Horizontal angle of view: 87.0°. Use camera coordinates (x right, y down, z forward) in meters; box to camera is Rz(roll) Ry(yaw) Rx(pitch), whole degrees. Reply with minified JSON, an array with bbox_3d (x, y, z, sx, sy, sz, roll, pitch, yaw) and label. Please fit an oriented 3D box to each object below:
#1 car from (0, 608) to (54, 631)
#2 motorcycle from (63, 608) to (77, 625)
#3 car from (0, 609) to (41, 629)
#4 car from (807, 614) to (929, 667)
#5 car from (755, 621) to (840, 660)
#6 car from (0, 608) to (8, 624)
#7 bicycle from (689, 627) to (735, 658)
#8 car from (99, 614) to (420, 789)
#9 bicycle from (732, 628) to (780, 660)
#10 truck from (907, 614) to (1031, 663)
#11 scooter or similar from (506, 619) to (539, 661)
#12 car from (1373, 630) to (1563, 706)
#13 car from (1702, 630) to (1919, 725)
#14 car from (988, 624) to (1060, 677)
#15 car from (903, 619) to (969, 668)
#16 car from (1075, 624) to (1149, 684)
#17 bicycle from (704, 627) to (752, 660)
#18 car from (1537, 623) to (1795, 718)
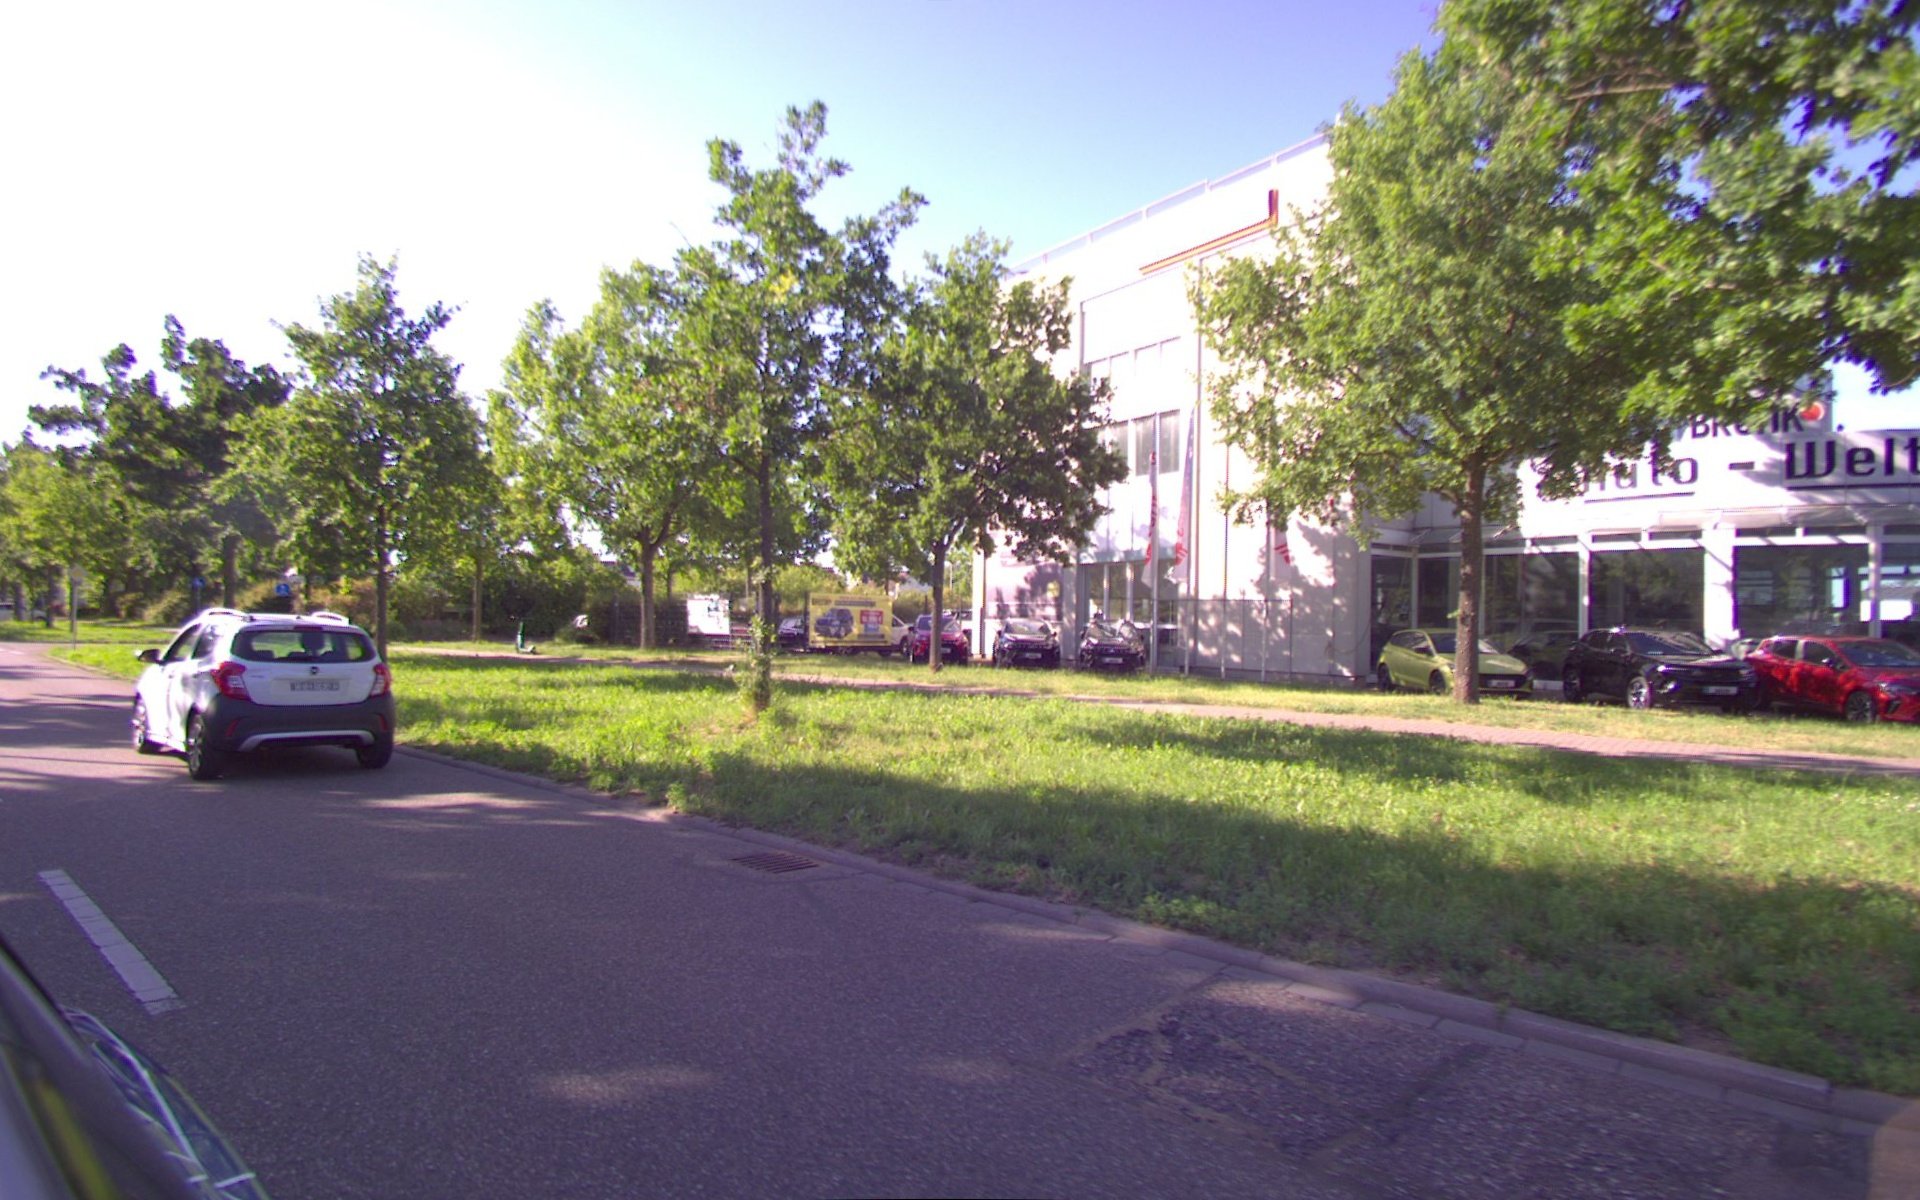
[{"bbox_3d":[-66.671,1.400,70.858,2.190,1.570,4.580,-1,-1,40],"label":"car"},{"bbox_3d":[-78.161,1.462,88.892,1.992,1.443,0.729,-1,1,45],"label":"motorcycle"},{"bbox_3d":[-74.240,1.467,78.429,2.088,1.522,4.364,-1,-1,43],"label":"car"},{"bbox_3d":[-3.325,1.421,36.887,3.965,1.797,2.030,0,-1,-38],"label":"car"},{"bbox_3d":[-6.538,1.601,40.445,1.771,1.459,4.009,2,-2,-35],"label":"car"},{"bbox_3d":[-96.631,1.605,99.830,4.015,1.655,1.877,0,-1,-44],"label":"car"},{"bbox_3d":[-9.004,1.530,36.734,1.890,1.096,0.632,-1,-2,41],"label":"bicycle"},{"bbox_3d":[-7.505,0.915,10.666,4.425,1.476,1.726,-1,-3,41],"label":"car"},{"bbox_3d":[-7.282,1.552,36.100,1.890,1.096,0.632,-1,-2,41],"label":"bicycle"},{"bbox_3d":[0.384,1.458,39.881,4.614,1.797,2.030,0,-1,-38],"label":"truck"},{"bbox_3d":[-13.946,1.272,32.276,1.441,1.289,0.390,-1,-2,43],"label":"scooter or similar"},{"bbox_3d":[10.525,1.364,21.341,1.972,1.412,3.953,1,-2,0],"label":"car"},{"bbox_3d":[15.877,1.311,18.264,1.973,1.502,4.166,1,-2,2],"label":"car"},{"bbox_3d":[1.852,1.454,30.269,1.775,1.459,4.001,1,-2,-1],"label":"car"},{"bbox_3d":[-0.841,1.370,32.724,1.773,1.459,4.005,1,-2,-6],"label":"car"},{"bbox_3d":[4.272,1.453,27.981,1.783,1.523,3.984,-1,-2,12],"label":"car"},{"bbox_3d":[-8.159,1.517,35.564,1.890,1.096,0.632,-1,-2,41],"label":"bicycle"},{"bbox_3d":[12.915,1.228,18.907,1.870,1.550,4.169,1,-2,0],"label":"car"}]
